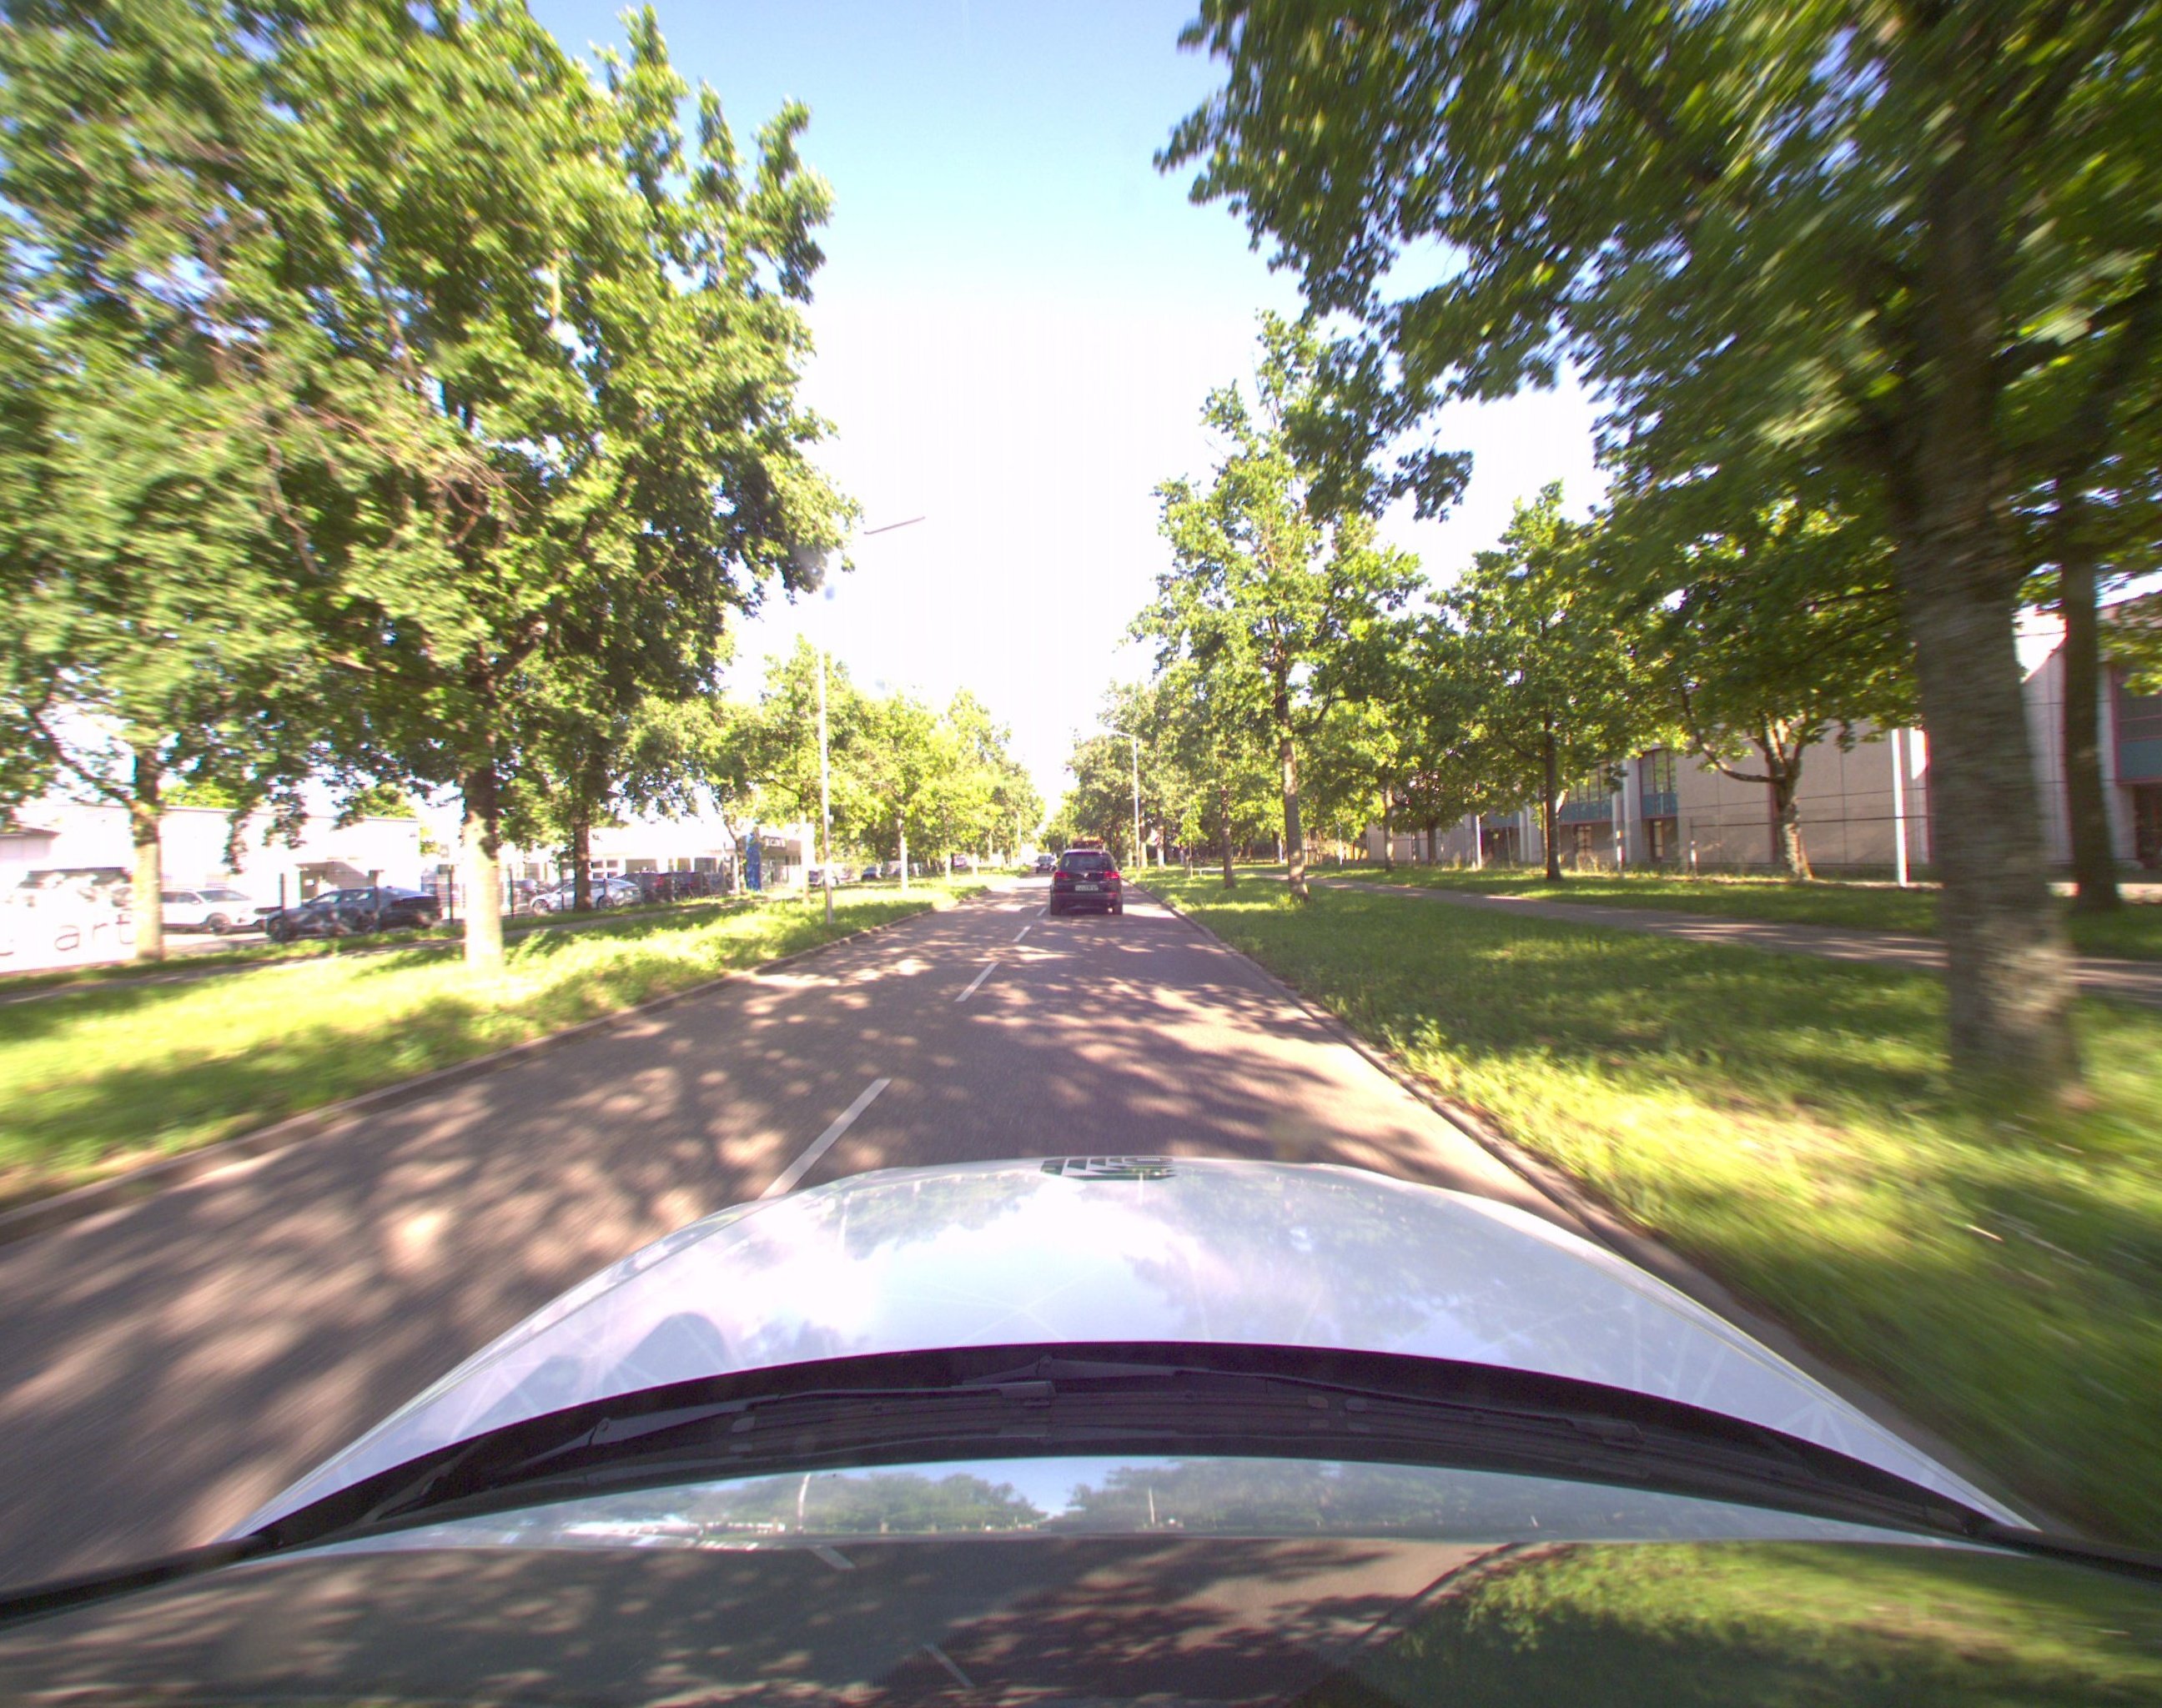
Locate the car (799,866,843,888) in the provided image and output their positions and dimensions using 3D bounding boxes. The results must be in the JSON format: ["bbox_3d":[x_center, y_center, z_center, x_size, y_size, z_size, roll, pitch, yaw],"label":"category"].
[{"bbox_3d":[-18.475,1.614,57.873,2.548,1.470,1.431,-2,0,15],"label":"car"}]

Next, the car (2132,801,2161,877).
[{"bbox_3d":[29.493,-0.479,20.065,4.938,1.884,1.997,-2,0,-4],"label":"car"}]

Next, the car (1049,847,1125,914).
[{"bbox_3d":[0.078,0.654,21.819,1.778,1.633,3.995,0,0,-3],"label":"car"}]

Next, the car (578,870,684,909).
[{"bbox_3d":[-21.369,1.652,38.747,3.972,1.746,1.862,0,-1,1],"label":"car"}]

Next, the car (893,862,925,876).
[{"bbox_3d":[-22.456,1.952,106.385,3.986,1.801,1.994,0,0,-9],"label":"car"}]

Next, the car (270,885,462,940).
[{"bbox_3d":[-21.986,1.775,25.193,3.972,1.518,2.199,0,0,1],"label":"car"}]

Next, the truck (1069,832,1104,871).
[{"bbox_3d":[0.370,-0.208,72.926,2.507,3.243,8.142,-2,0,-3],"label":"truck"}]

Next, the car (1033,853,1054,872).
[{"bbox_3d":[-3.517,0.775,77.679,1.762,1.672,4.197,-3,0,-1],"label":"car"}]

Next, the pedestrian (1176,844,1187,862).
[{"bbox_3d":[9.293,-0.109,75.451,0.610,1.631,0.713,-4,0,-23],"label":"pedestrian"}]

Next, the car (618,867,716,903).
[{"bbox_3d":[-21.121,1.576,41.650,3.971,1.742,2.001,0,0,2],"label":"car"}]

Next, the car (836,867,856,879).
[{"bbox_3d":[-33.638,2.686,116.583,1.992,1.566,4.871,0,0,-8],"label":"car"}]

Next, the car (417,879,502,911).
[{"bbox_3d":[-36.829,2.370,48.447,1.996,1.661,5.235,0,0,-13],"label":"car"}]

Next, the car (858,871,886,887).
[{"bbox_3d":[-22.417,2.664,87.553,1.989,1.598,5.010,0,0,-3],"label":"car"}]

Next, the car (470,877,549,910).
[{"bbox_3d":[-33.365,2.274,47.742,1.996,1.661,5.235,0,0,-13],"label":"car"}]

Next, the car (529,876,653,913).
[{"bbox_3d":[-21.412,1.766,35.702,4.295,1.518,1.862,0,0,1],"label":"car"}]

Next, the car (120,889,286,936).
[{"bbox_3d":[-31.026,2.044,28.865,3.972,1.518,1.752,0,0,1],"label":"car"}]

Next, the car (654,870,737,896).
[{"bbox_3d":[-29.216,2.187,61.880,1.974,1.660,5.294,-1,1,37],"label":"car"}]
